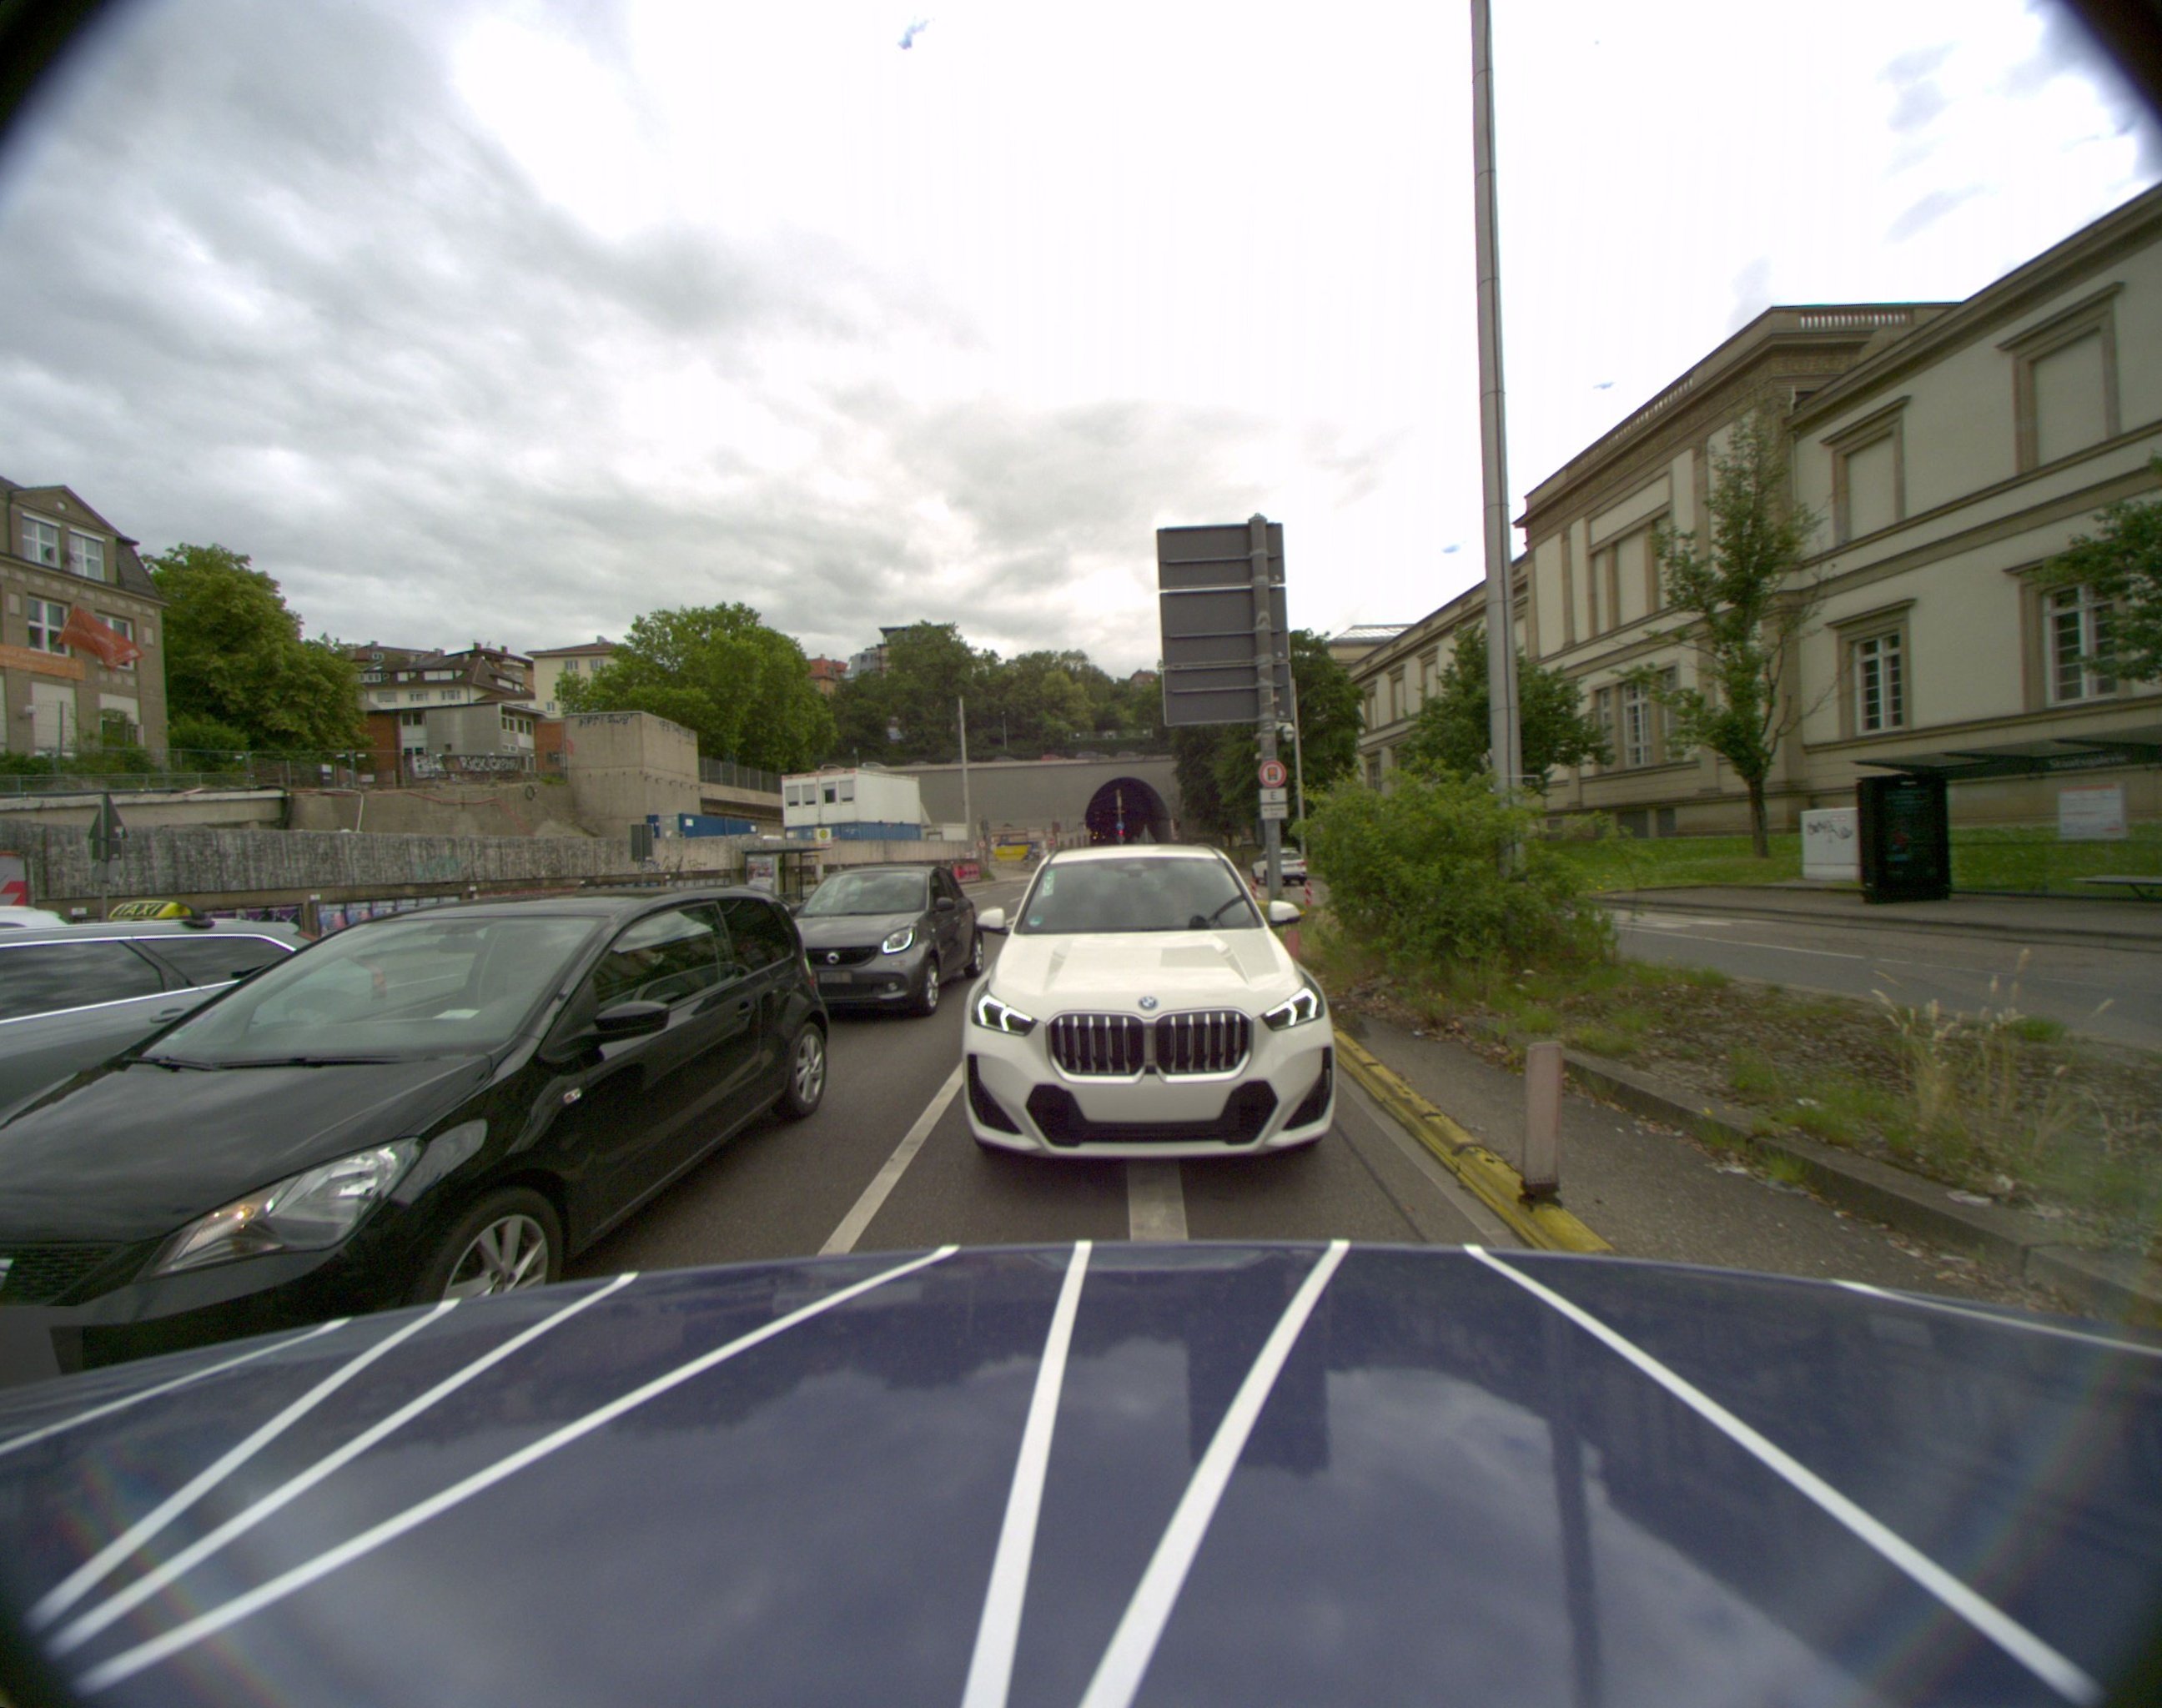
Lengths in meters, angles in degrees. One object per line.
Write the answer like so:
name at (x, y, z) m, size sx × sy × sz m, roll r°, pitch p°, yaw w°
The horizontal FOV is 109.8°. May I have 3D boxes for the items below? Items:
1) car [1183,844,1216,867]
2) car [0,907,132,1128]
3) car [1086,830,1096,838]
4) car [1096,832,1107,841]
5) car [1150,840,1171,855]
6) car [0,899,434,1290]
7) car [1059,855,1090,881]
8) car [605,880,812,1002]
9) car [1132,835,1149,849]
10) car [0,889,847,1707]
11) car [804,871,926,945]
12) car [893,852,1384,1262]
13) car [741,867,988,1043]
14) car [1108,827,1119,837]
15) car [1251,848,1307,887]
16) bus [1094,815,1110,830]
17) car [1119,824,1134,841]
car at (9.234, 0.093, 59.442) m, size 1.875 × 1.681 × 4.267 m, roll -2°, pitch 1°, yaw 0°
car at (-9.104, 1.321, 4.453) m, size 1.680 × 1.615 × 4.209 m, roll -2°, pitch 1°, yaw 1°
car at (1.875, -3.717, 142.521) m, size 1.680 × 1.358 × 3.806 m, roll -2°, pitch 1°, yaw 1°
car at (3.306, -2.761, 123.678) m, size 1.680 × 1.358 × 3.806 m, roll -2°, pitch 1°, yaw 1°
car at (8.172, -0.676, 78.187) m, size 1.646 × 1.469 × 3.574 m, roll -2°, pitch 0°, yaw -2°
car at (-5.854, 1.209, 3.311) m, size 1.829 × 1.615 × 4.808 m, roll -2°, pitch 1°, yaw 1°
car at (-0.377, 0.872, 48.083) m, size 1.680 × 1.450 × 3.807 m, roll -2°, pitch 1°, yaw 3°
car at (-5.393, 1.195, 11.371) m, size 1.665 × 1.423 × 2.714 m, roll -2°, pitch 1°, yaw 1°
car at (7.533, -1.519, 96.832) m, size 1.778 × 1.609 × 3.802 m, roll -2°, pitch 1°, yaw -1°
car at (-2.569, 1.019, 3.351) m, size 1.829 × 1.450 × 3.700 m, roll -2°, pitch 1°, yaw 1°
car at (-4.916, 1.166, 17.821) m, size 1.680 × 1.358 × 3.806 m, roll -2°, pitch 1°, yaw 1°
car at (0.265, 0.849, 5.001) m, size 1.987 × 1.615 × 3.670 m, roll -2°, pitch 1°, yaw 1°
car at (-2.251, 0.981, 8.900) m, size 1.720 × 1.535 × 3.575 m, roll -2°, pitch 0°, yaw 2°
car at (6.214, -4.194, 146.285) m, size 1.946 × 1.714 × 4.000 m, roll -2°, pitch 1°, yaw 4°
car at (9.124, 0.589, 35.274) m, size 1.902 × 1.615 × 4.110 m, roll -2°, pitch 0°, yaw 7°
bus at (4.831, -7.343, 178.287) m, size 3.171 × 3.129 × 9.118 m, roll -2°, pitch 1°, yaw -1°
car at (7.068, -3.381, 118.321) m, size 2.203 × 2.493 × 4.758 m, roll -2°, pitch 1°, yaw 2°
